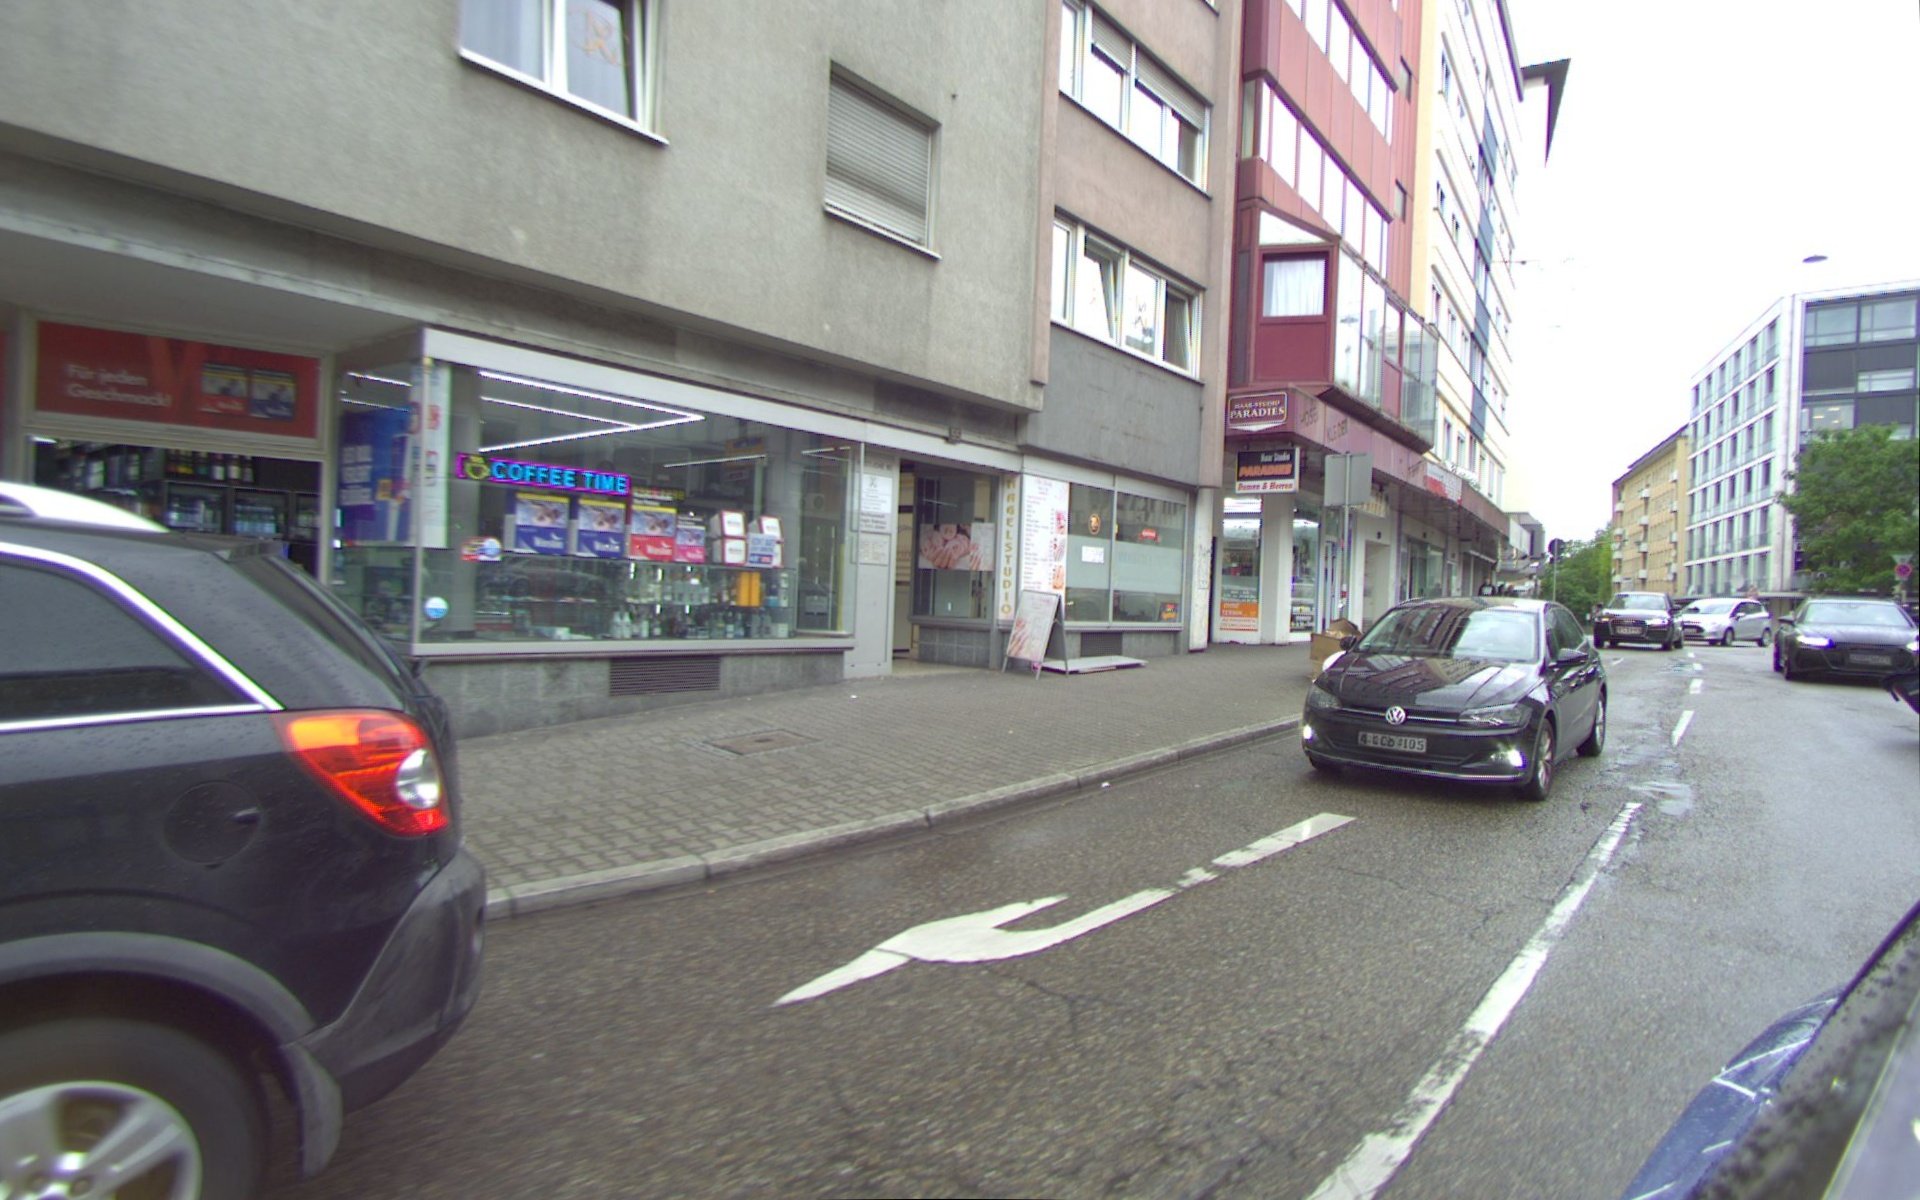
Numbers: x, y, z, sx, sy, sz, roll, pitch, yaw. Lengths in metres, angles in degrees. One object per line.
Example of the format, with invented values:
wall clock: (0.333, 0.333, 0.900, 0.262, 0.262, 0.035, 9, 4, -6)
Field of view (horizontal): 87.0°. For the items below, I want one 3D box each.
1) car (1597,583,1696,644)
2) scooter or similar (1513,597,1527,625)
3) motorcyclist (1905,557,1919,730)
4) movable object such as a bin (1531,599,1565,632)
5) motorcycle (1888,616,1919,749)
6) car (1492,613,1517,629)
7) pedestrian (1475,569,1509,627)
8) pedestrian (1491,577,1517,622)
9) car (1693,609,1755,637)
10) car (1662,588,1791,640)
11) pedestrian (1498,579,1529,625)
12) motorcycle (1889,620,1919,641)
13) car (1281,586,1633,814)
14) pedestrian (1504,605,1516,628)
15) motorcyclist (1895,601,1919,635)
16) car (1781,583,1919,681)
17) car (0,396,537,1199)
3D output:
car: (19.147, 0.365, 28.173, 1.864, 1.567, 4.043, 0, -1, 40)
scooter or similar: (28.636, 0.560, 51.761, 0.376, 1.377, 1.131, 0, -1, 42)
motorcyclist: (9.697, 0.411, 9.542, 1.088, 1.625, 0.939, 0, -1, 41)
movable object such as a bin: (18.368, 0.495, 31.602, 0.658, 0.945, 0.534, 4, 3, -17)
motorcycle: (9.759, 0.768, 9.587, 1.308, 1.149, 2.154, 1, 1, 40)
car: (50.950, 1.949, 94.733, 1.766, 1.472, 3.966, 0, -2, 24)
pedestrian: (17.239, -0.058, 32.807, 0.832, 1.786, 0.611, 5, 0, 30)
pedestrian: (21.971, -0.007, 40.893, 0.773, 1.786, 0.618, 1, -2, -32)
car: (43.065, 1.295, 57.146, 1.955, 1.405, 3.964, 4, 1, 26)
car: (25.418, 0.453, 33.546, 4.021, 1.603, 2.002, 1, 1, -30)
pedestrian: (20.909, 0.085, 38.219, 0.738, 1.745, 0.754, 1, -2, -32)
motorcycle: (41.914, 1.347, 44.406, 0.702, 0.852, 2.383, 1, 1, 16)
car: (4.374, 0.625, 8.609, 1.737, 1.448, 3.822, 2, 2, 41)
pedestrian: (39.978, 1.220, 73.610, 0.730, 1.667, 0.635, -1, -1, 28)
motorcyclist: (41.862, 0.793, 44.323, 0.899, 1.460, 1.108, 1, 0, 17)
car: (15.931, 0.490, 18.017, 1.990, 1.510, 4.668, 1, 1, 39)
car: (-3.198, 0.534, 1.699, 4.223, 1.808, 1.911, 1, -1, -39)
